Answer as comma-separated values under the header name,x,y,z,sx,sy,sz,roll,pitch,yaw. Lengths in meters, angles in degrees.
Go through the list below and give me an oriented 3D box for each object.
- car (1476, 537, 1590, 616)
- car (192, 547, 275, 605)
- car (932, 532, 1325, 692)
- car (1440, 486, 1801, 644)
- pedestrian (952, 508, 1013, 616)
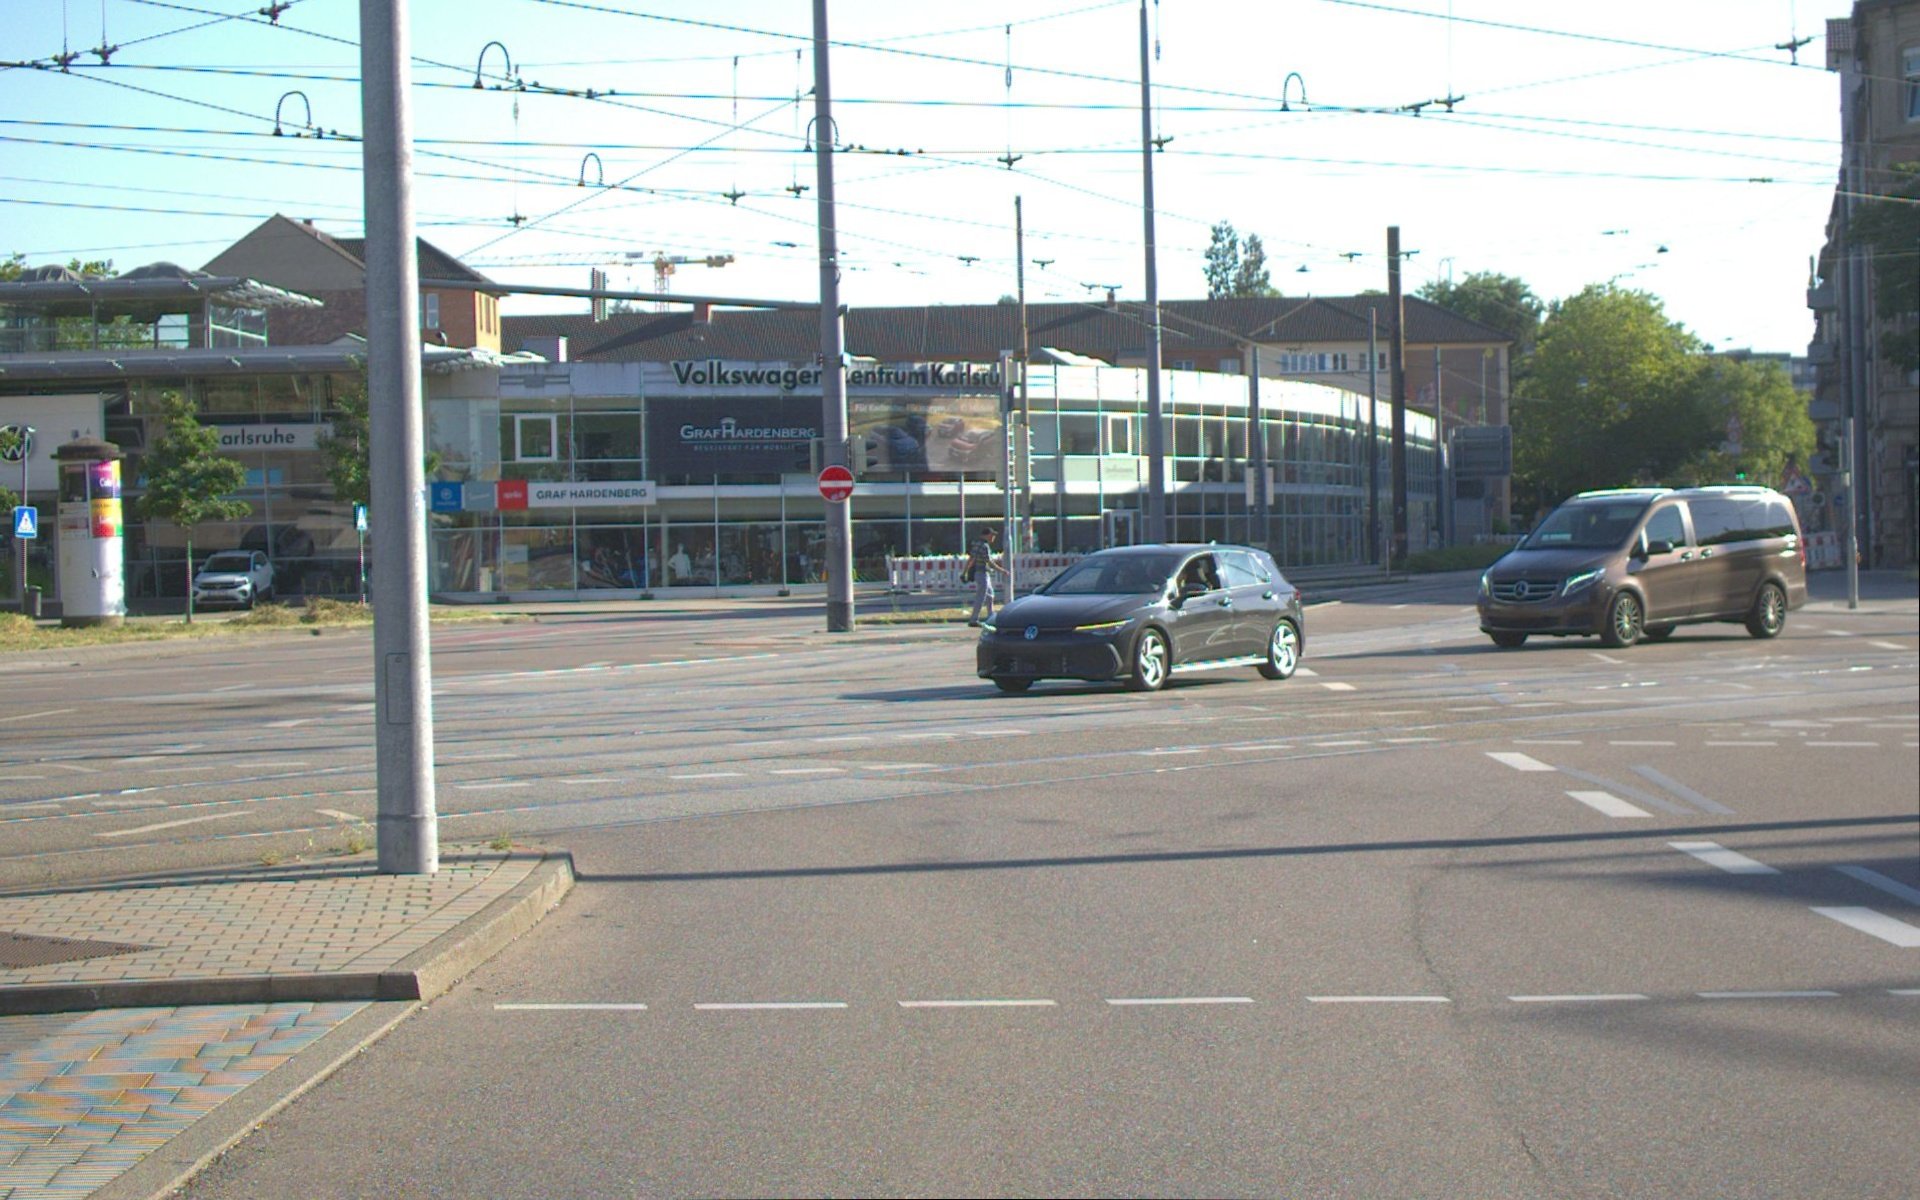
name,x,y,z,sx,sy,sz,roll,pitch,yaw
car,12.077,-0.513,72.665,1.947,1.588,4.616,-1,1,4
car,-21.267,-0.730,100.767,1.993,1.529,4.001,0,3,-6
car,1.763,0.085,34.849,1.951,1.481,4.094,0,1,38
car,8.389,-0.473,43.437,4.837,1.887,1.953,-2,1,-42
pedestrian,0.377,-0.652,58.342,0.989,1.810,0.920,0,2,-2
